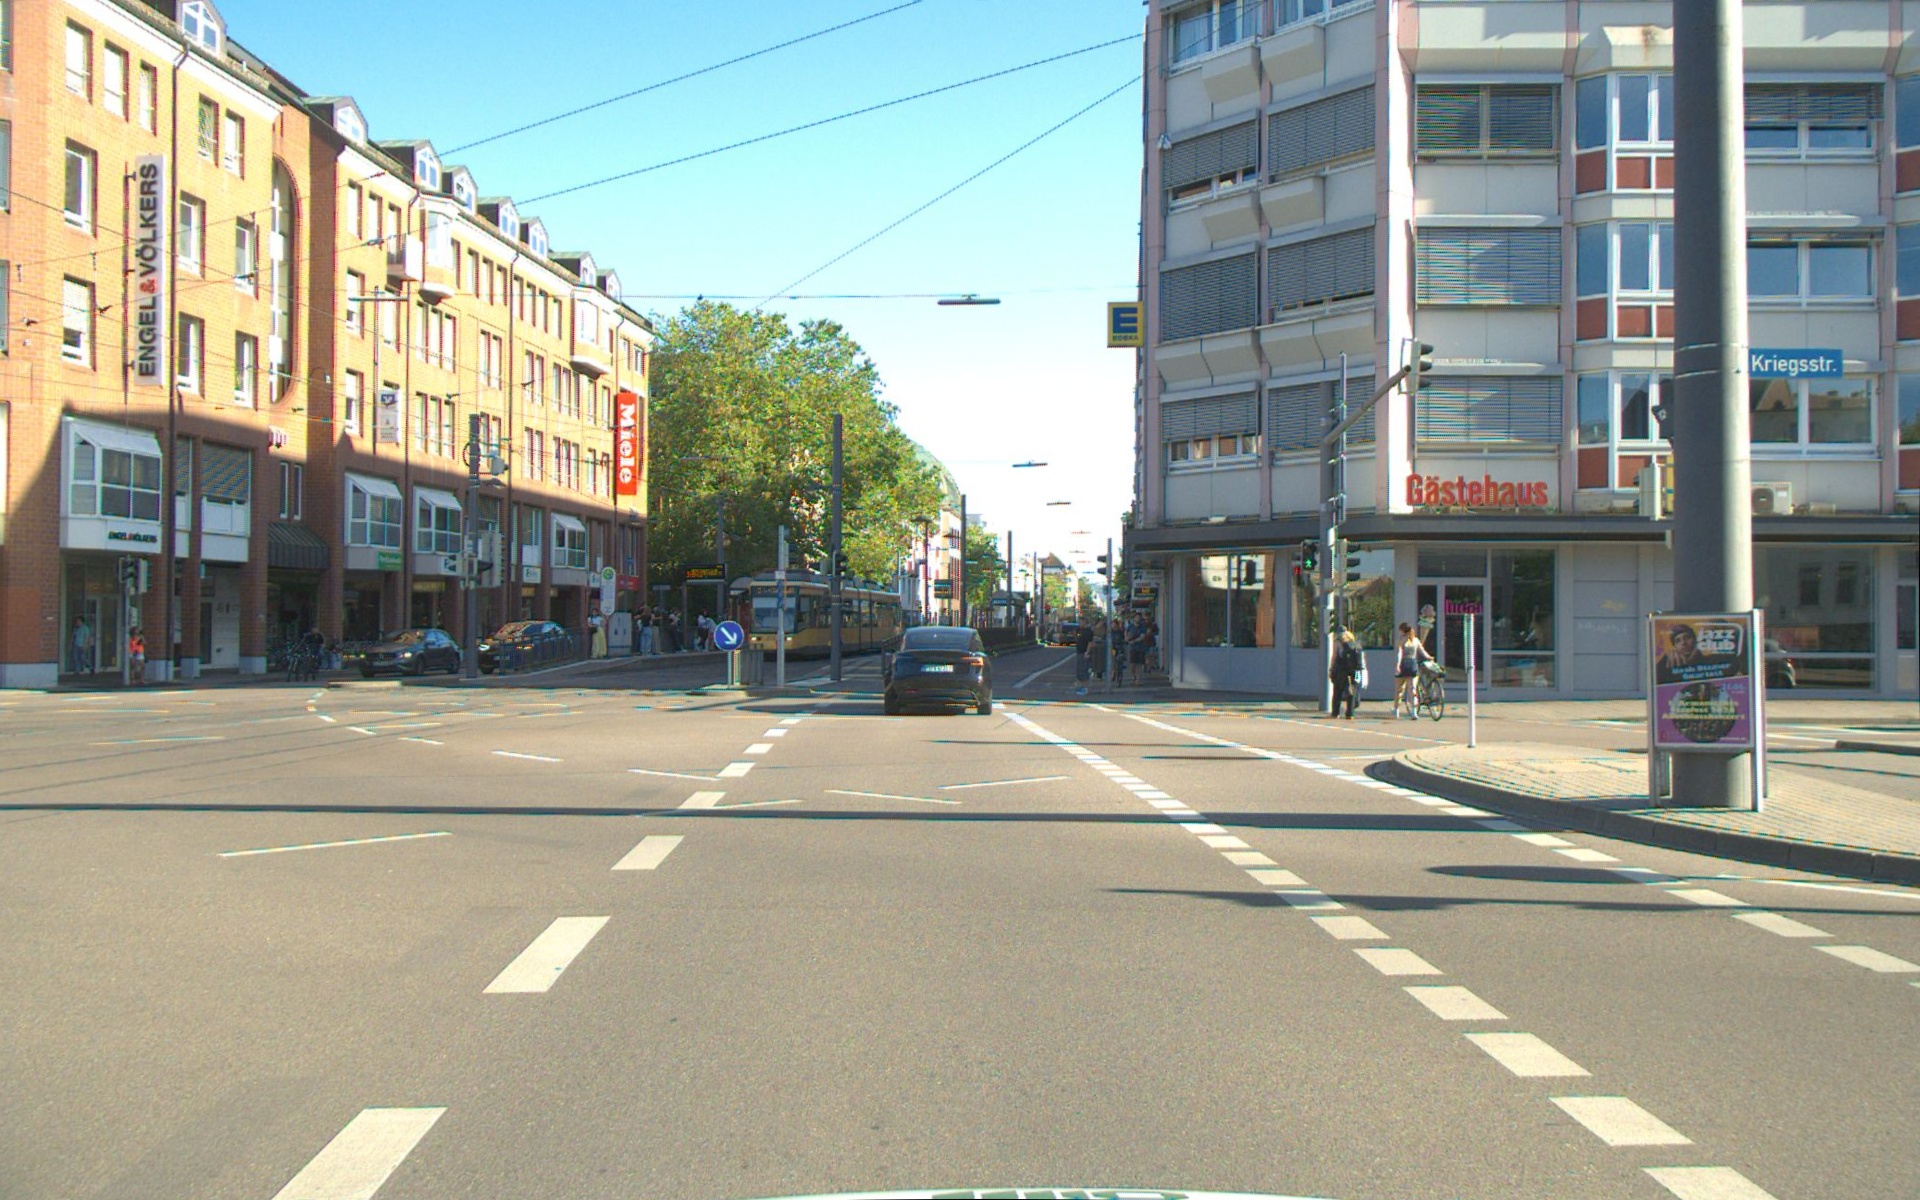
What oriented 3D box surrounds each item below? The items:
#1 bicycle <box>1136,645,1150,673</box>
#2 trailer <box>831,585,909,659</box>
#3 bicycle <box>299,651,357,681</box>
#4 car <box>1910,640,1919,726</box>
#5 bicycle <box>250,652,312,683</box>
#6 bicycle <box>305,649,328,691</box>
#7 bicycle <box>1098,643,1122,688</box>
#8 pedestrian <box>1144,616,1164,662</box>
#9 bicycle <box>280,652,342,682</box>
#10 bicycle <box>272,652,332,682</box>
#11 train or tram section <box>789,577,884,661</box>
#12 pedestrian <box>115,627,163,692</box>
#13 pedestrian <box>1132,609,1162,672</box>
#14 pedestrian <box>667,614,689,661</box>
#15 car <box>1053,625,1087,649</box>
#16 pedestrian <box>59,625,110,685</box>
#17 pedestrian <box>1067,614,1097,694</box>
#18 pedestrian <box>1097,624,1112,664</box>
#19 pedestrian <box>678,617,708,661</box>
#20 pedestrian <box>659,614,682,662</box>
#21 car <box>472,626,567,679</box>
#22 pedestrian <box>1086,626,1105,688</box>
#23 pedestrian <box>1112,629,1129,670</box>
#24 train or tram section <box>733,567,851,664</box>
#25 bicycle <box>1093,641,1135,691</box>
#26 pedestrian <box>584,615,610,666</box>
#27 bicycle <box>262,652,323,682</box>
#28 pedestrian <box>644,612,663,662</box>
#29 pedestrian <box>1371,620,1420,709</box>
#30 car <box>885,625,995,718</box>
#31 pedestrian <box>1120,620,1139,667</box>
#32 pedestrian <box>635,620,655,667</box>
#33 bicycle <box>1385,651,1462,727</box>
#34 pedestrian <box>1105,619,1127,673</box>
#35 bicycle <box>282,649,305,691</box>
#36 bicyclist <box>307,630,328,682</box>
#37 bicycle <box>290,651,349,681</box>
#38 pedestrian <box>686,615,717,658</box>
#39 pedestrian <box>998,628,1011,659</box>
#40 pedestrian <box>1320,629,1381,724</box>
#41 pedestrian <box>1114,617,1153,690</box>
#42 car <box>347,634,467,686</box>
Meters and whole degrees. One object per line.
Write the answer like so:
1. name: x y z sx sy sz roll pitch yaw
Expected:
1. bicycle: 5.935 1.905 53.612 0.405 0.872 1.238 1 -1 7
2. trailer: -4.593 1.195 86.438 2.656 3.609 9.363 1 -1 6
3. bicycle: -20.518 2.144 53.738 1.674 0.916 0.521 1 -2 4
4. car: 18.112 1.386 27.322 3.760 1.457 1.804 0 -3 3
5. bicycle: -20.814 2.059 50.706 1.674 0.916 0.521 1 -2 4
6. bicycle: -18.509 2.008 47.571 0.484 1.178 1.668 2 -2 -25
7. bicycle: 3.900 1.677 42.899 0.478 1.121 2.126 1 -1 8
8. pedestrian: 7.342 1.469 62.592 0.731 1.707 0.699 1 -2 7
9. bicycle: -20.613 2.117 52.576 1.722 0.916 0.586 1 -2 4
10. bicycle: -20.678 2.091 51.972 1.674 0.916 0.521 1 -2 4
11. train or tram section: -5.576 0.952 76.718 2.656 3.609 10.174 1 -1 6
12. pedestrian: -21.201 1.540 42.709 0.697 1.622 0.777 3 -1 6
13. pedestrian: 5.207 1.132 46.163 0.673 1.718 0.670 1 -2 -8
14. pedestrian: -10.607 1.419 62.245 0.622 1.751 0.609 0 -2 14
15. car: 8.178 2.735 122.290 1.700 1.694 3.710 0 -2 17
16. pedestrian: -23.727 1.492 44.836 0.867 1.596 0.862 0 -2 26
17. pedestrian: 2.790 1.232 37.843 0.613 1.814 0.918 1 -2 1
18. pedestrian: 7.177 2.188 82.013 0.682 1.930 0.750 1 -2 6
19. pedestrian: -10.270 1.498 63.637 0.979 1.653 0.847 1 -2 -2
20. pedestrian: -10.773 1.410 61.639 0.622 1.751 0.586 0 -2 14
21. car: -13.875 1.651 52.291 1.779 1.571 3.793 -1 -2 3
22. pedestrian: 3.552 1.488 43.329 0.461 1.590 0.545 0 -2 9
23. pedestrian: 6.795 2.092 70.160 0.682 1.707 0.750 1 -2 6
24. train or tram section: -6.609 0.696 66.652 2.671 3.605 10.092 1 -1 6
25. bicycle: 3.792 1.612 40.728 0.479 1.181 1.967 1 -1 -11
26. pedestrian: -11.551 1.283 52.633 0.622 1.591 0.586 1 -2 7
27. bicycle: -20.727 2.075 51.354 1.674 0.916 0.521 1 -2 4
28. pedestrian: -10.998 1.326 59.270 0.624 1.751 0.584 1 -2 -10
29. pedestrian: 7.859 1.157 29.867 0.516 1.582 0.865 1 -2 -11
30. car: -0.326 1.227 28.398 1.754 1.476 3.938 0 -3 0
31. pedestrian: 6.136 1.572 59.908 0.682 1.707 0.750 1 -2 6
32. pedestrian: -10.386 1.433 54.546 0.573 1.558 0.636 1 -2 -9
33. bicycle: 8.292 1.575 29.652 0.534 1.307 1.902 1 -2 -11
34. pedestrian: 4.966 1.465 52.603 0.682 1.707 0.750 1 -2 6
35. bicycle: -19.069 1.989 47.316 0.484 1.178 1.702 2 -2 -25
36. bicyclist: -18.453 1.604 47.484 0.476 1.496 0.713 2 -2 -25
37. bicycle: -20.572 2.121 53.154 1.674 0.916 0.521 1 -2 4
38. pedestrian: -10.077 1.436 64.595 1.083 1.653 0.847 1 -2 -3
39. pedestrian: 2.617 2.531 97.011 0.741 1.801 0.699 1 -2 5
40. pedestrian: 6.826 1.323 28.953 0.764 1.604 0.866 1 0 -7
41. pedestrian: 4.302 1.324 41.011 0.895 1.785 0.840 0 -2 10
42. car: -16.715 1.791 50.178 1.778 1.479 3.980 -2 -2 9
